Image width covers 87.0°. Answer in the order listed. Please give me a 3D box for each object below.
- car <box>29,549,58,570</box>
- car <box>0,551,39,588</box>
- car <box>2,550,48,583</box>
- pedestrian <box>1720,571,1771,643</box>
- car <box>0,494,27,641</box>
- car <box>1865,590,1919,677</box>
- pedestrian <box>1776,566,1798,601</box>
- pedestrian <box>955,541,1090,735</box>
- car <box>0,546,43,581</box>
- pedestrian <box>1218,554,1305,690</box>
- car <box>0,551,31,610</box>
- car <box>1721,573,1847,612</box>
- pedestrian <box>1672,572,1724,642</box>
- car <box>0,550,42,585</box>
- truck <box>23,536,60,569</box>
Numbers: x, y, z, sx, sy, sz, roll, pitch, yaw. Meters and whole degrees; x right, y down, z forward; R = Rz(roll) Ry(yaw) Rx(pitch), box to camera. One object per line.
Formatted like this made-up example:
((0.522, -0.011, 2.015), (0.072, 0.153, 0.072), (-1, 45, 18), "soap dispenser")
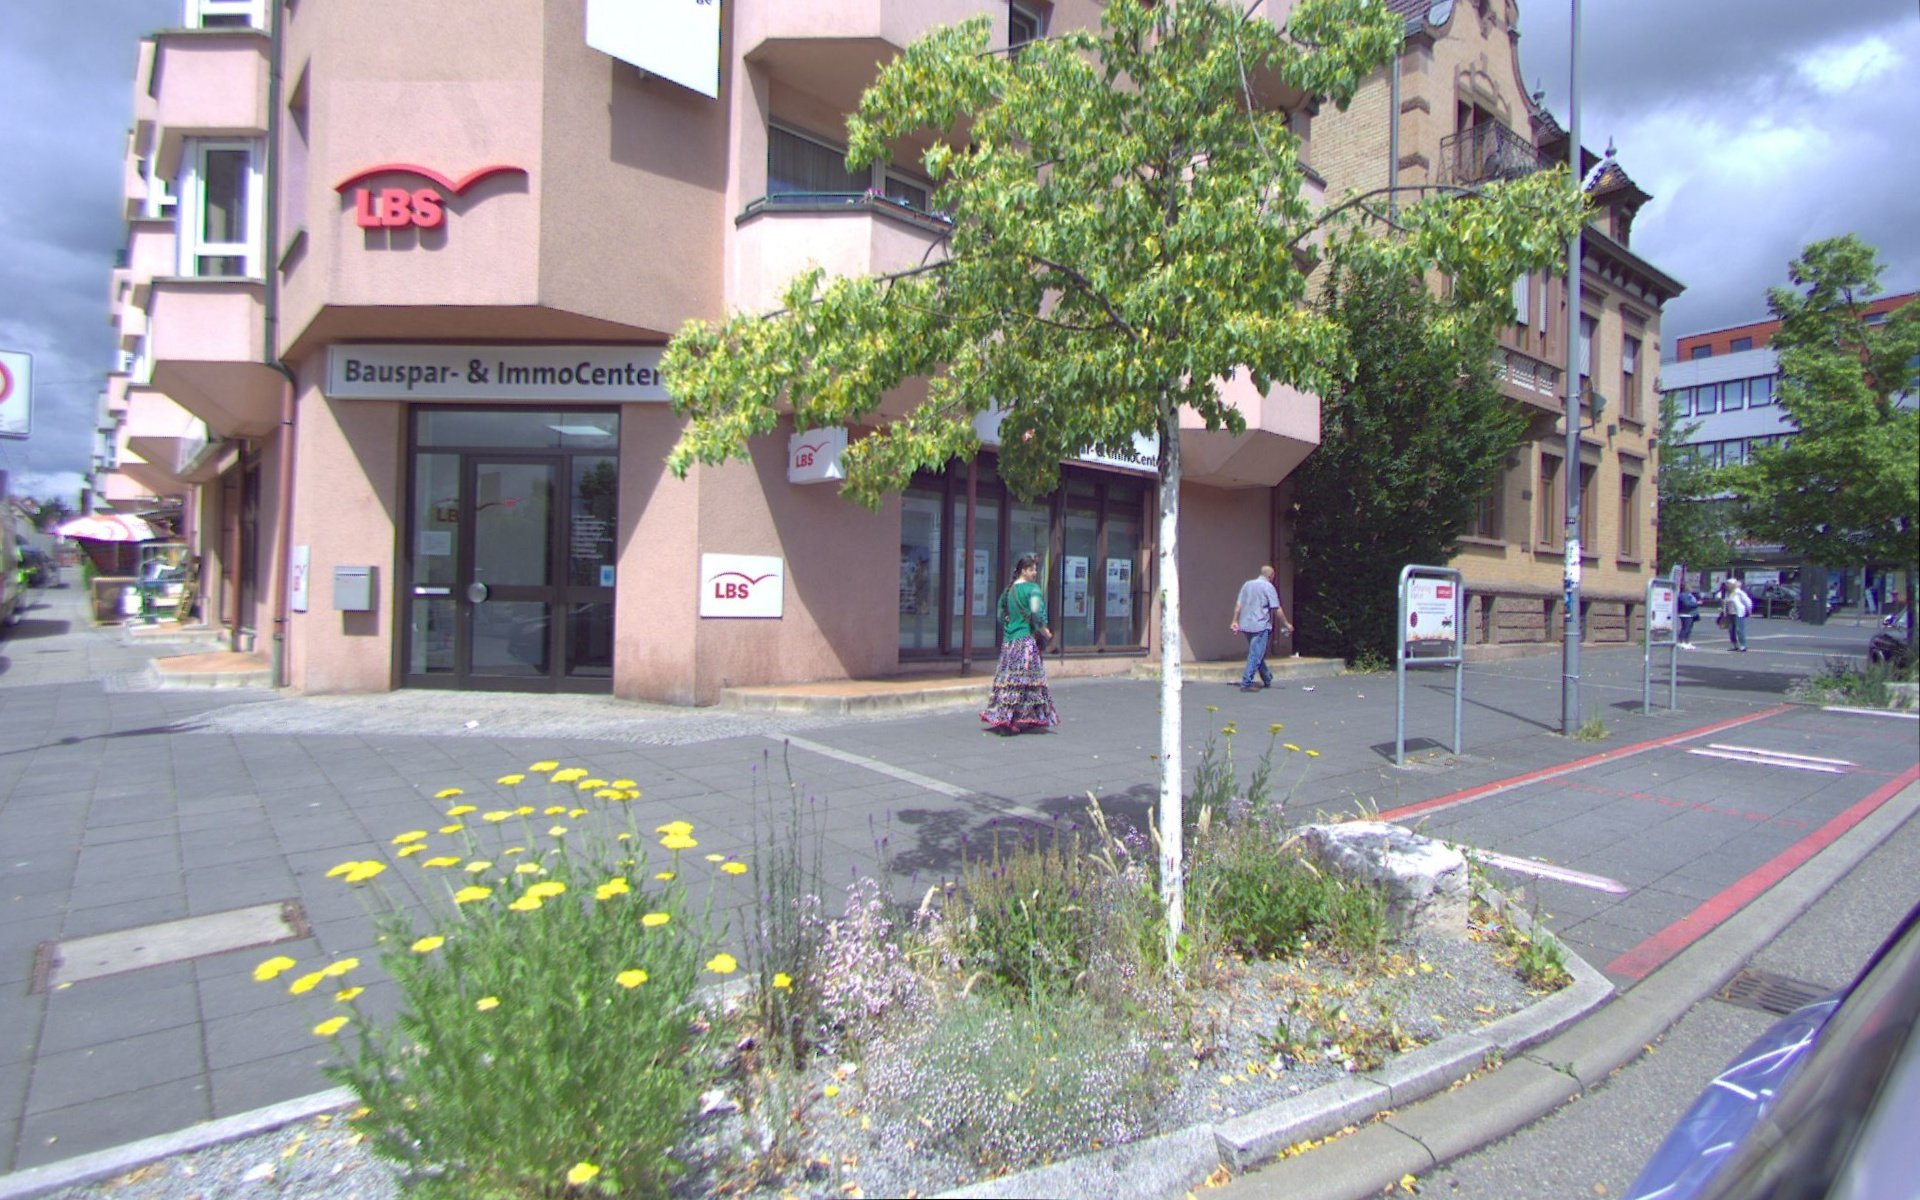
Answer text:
((-74.007, -3.279, 81.736), (1.603, 1.662, 3.772), (1, 1, -40), "car")
((-39.615, -1.294, 42.217), (1.603, 1.495, 3.772), (1, 1, -40), "car")
((-50.026, -1.796, 54.203), (1.603, 1.662, 3.772), (1, 1, -40), "car")
((18.637, 0.153, 24.023), (0.725, 1.679, 0.699), (-1, 0, -28), "pedestrian")
((-19.517, -0.688, 19.412), (2.090, 2.586, 5.898), (1, 1, -40), "car")
((17.866, 0.552, 17.951), (4.651, 1.431, 1.998), (0, 1, -39), "car")
((45.792, -0.924, 56.051), (0.751, 1.937, 0.686), (-1, 0, -30), "pedestrian")
((0.569, 0.316, 9.216), (0.911, 1.659, 0.746), (1, 1, -40), "pedestrian")
((-46.833, -1.829, 50.376), (1.603, 1.662, 3.772), (1, 1, -40), "car")
((3.952, 0.262, 13.270), (0.929, 1.706, 0.717), (-1, 2, -43), "pedestrian")
((-25.938, -0.566, 26.948), (1.603, 1.495, 3.772), (1, 1, -40), "car")
((37.243, -0.298, 45.824), (1.961, 1.672, 4.001), (0, -1, -33), "car")
((17.864, 0.161, 24.507), (0.661, 1.660, 0.742), (-1, 0, -14), "pedestrian")
((-43.114, -1.505, 46.203), (1.603, 1.495, 3.772), (1, 1, -40), "car")
((-62.705, -3.229, 69.133), (1.603, 2.161, 5.383), (1, 1, -40), "truck")
